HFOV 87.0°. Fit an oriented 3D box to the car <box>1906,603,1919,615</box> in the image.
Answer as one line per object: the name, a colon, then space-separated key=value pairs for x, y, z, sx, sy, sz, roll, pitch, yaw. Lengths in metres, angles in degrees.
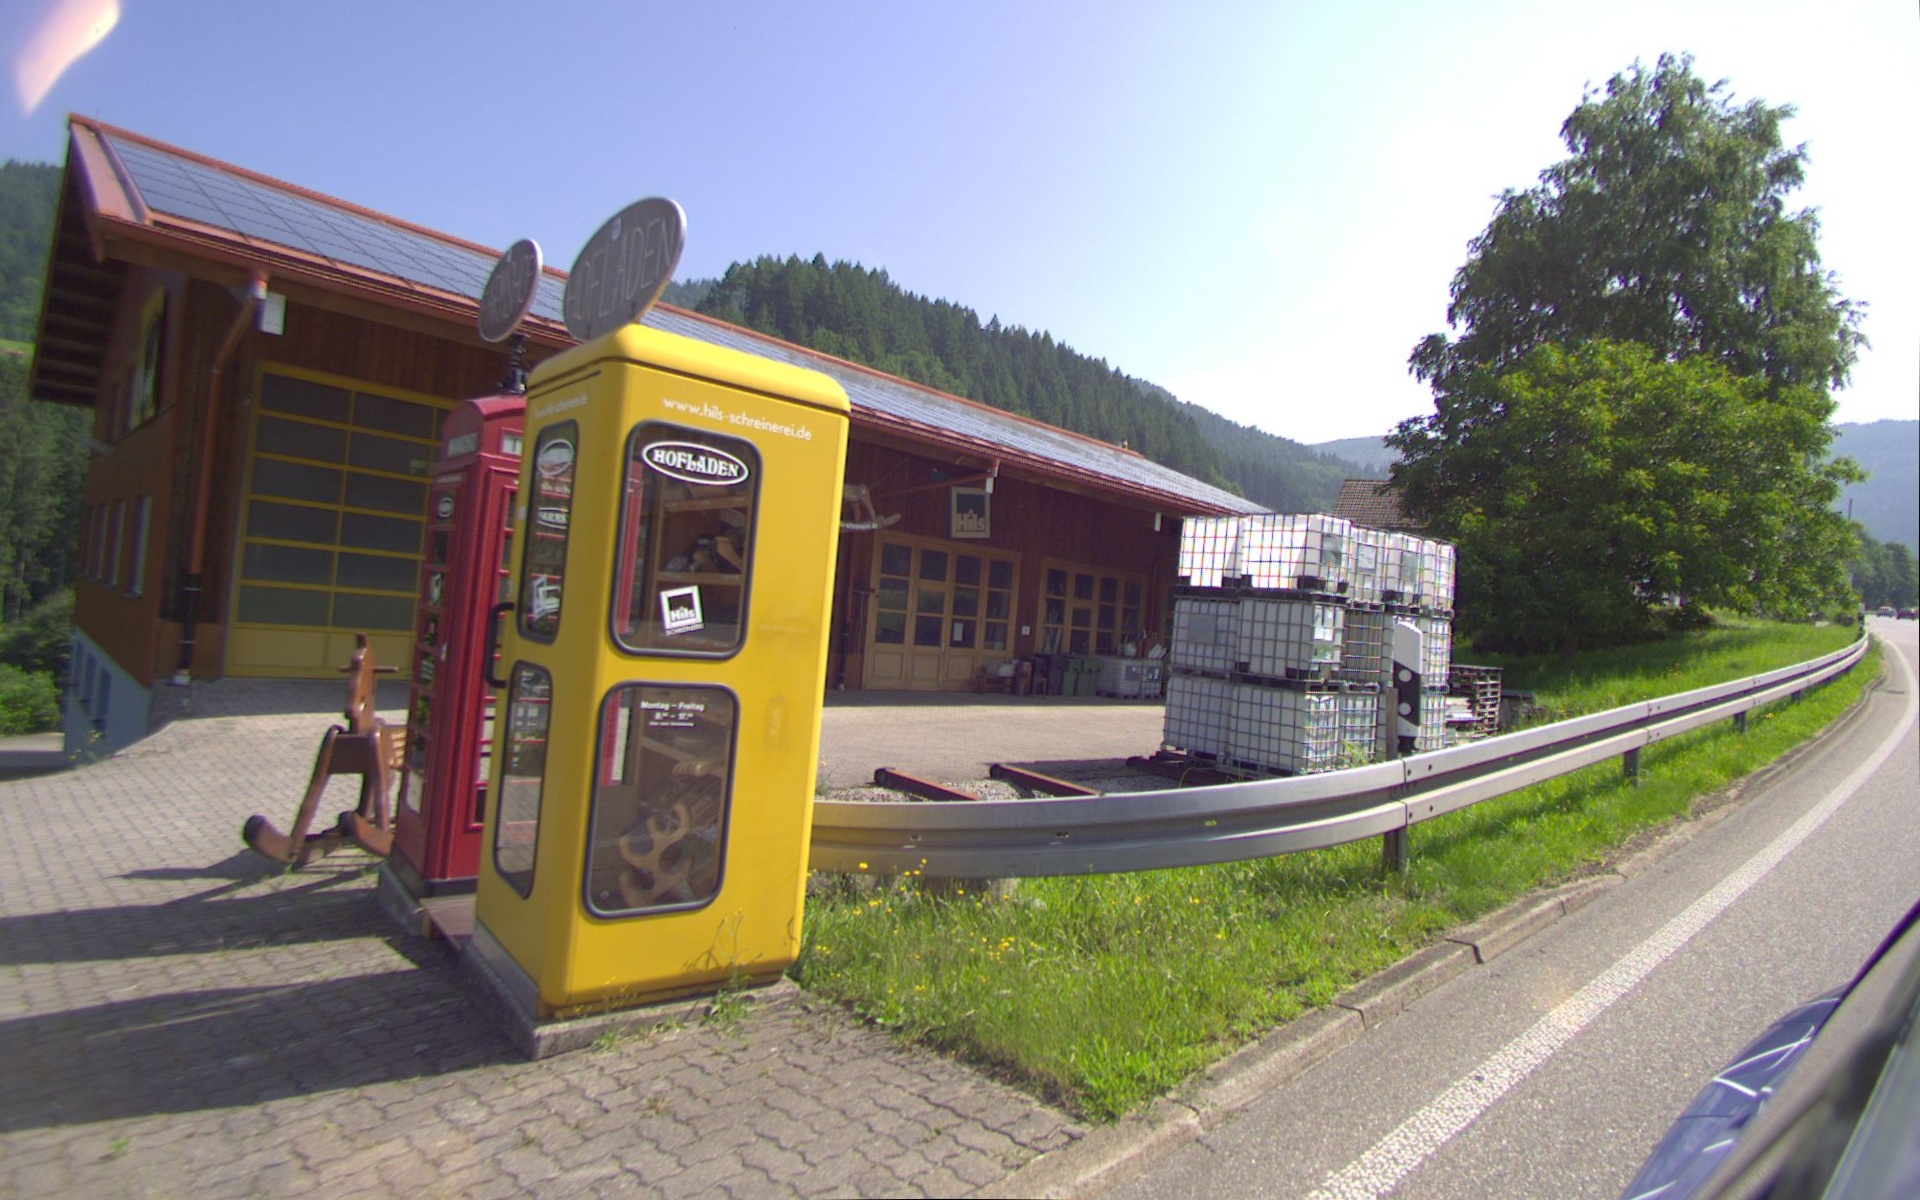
car: x=122.352 y=1.162 z=129.452 sx=1.809 sy=1.528 sz=4.200 roll=2 pitch=1 yaw=40

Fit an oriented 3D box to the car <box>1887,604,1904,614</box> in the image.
car: x=149.562 y=1.481 z=161.804 sx=1.809 sy=1.528 sz=4.201 roll=2 pitch=1 yaw=39

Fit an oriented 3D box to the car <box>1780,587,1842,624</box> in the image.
car: x=46.265 y=0.303 z=54.981 sx=4.581 sy=1.835 sz=1.813 roll=1 pitch=3 yaw=-41
